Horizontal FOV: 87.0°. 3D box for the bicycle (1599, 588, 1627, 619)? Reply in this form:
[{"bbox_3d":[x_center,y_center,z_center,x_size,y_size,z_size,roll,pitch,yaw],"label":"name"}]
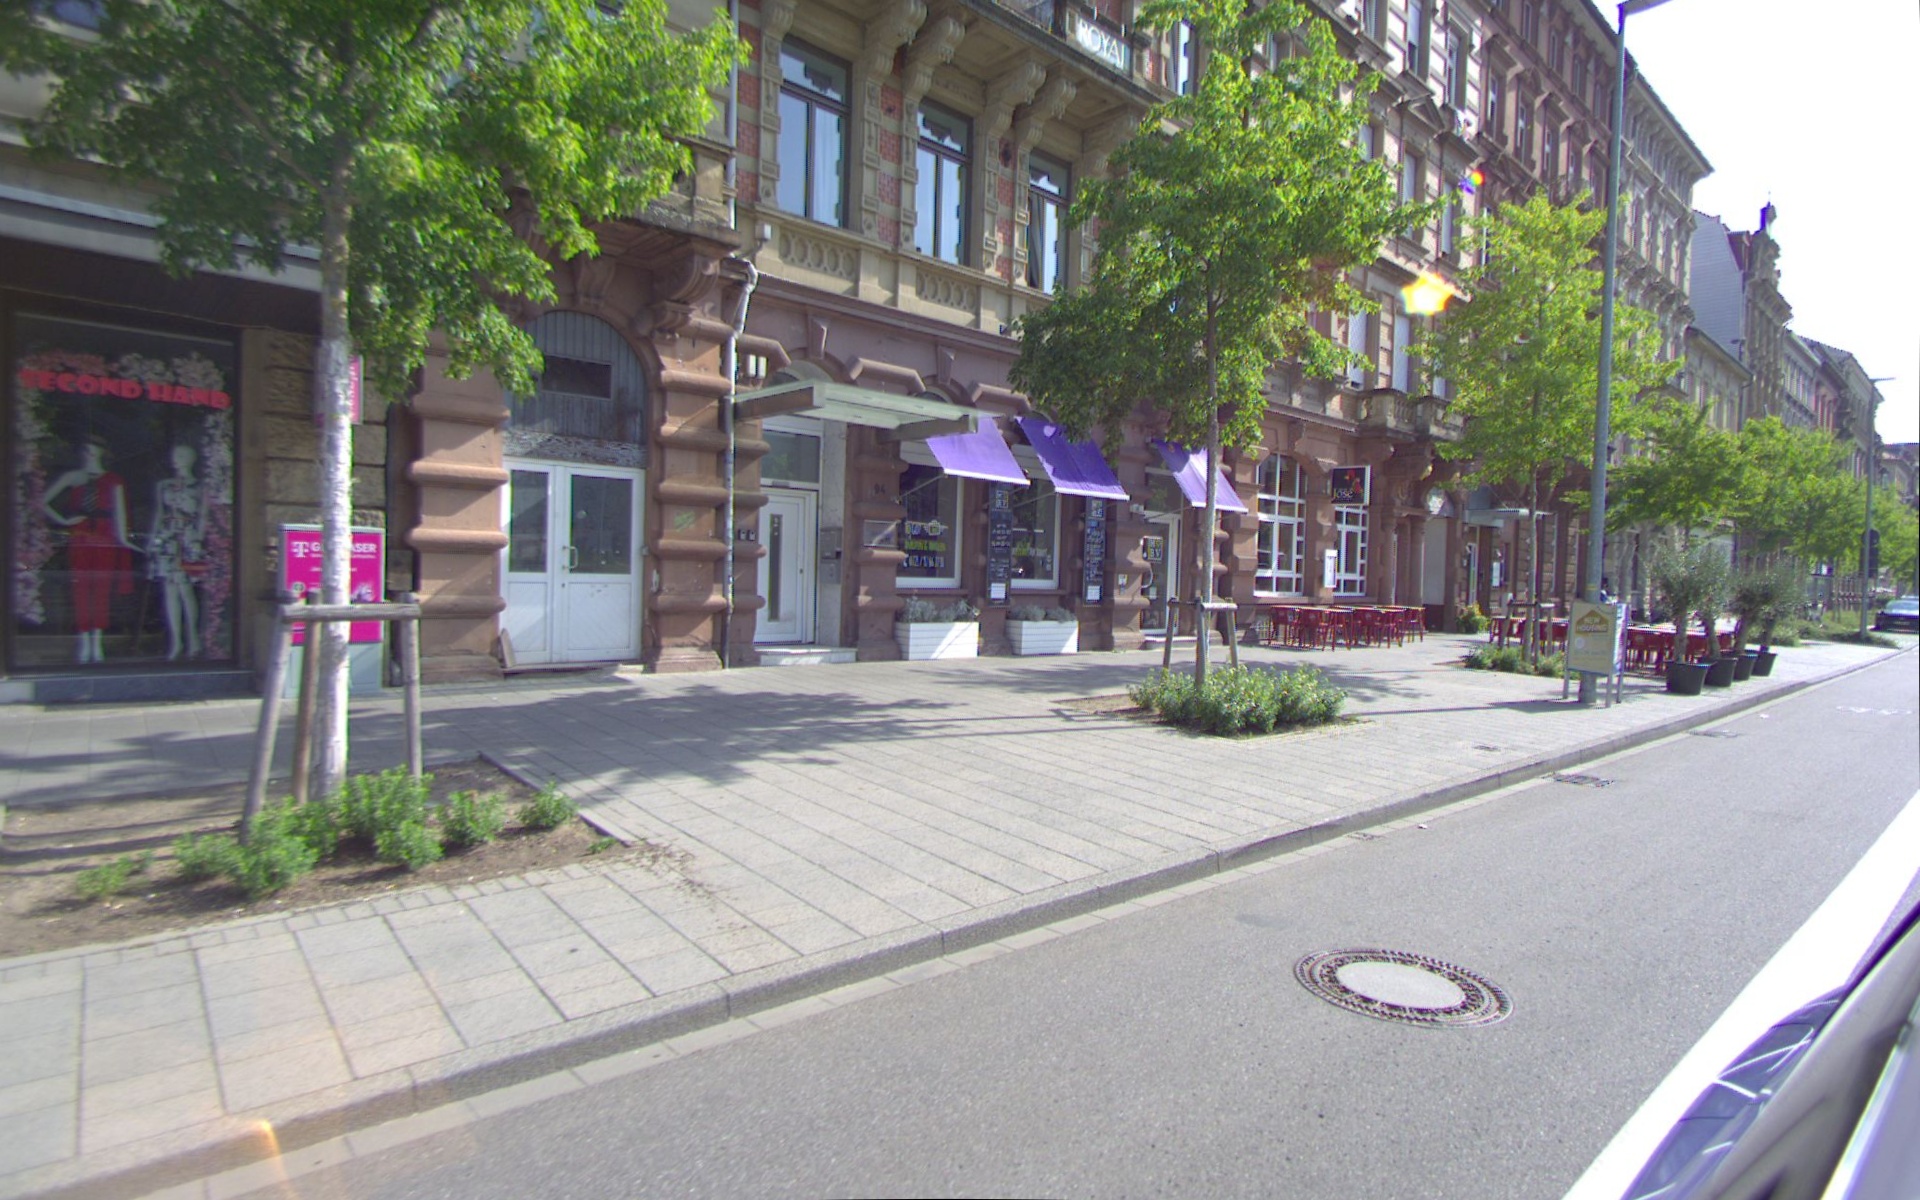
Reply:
[{"bbox_3d":[21.905,0.114,33.942,1.232,1.031,0.398,0,2,-38],"label":"bicycle"}]

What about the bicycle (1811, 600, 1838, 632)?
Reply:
[{"bbox_3d":[31.256,0.563,36.582,1.795,1.107,0.493,0,2,-43],"label":"bicycle"}]

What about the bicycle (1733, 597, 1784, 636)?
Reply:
[{"bbox_3d":[23.924,0.500,30.303,1.678,1.073,0.507,2,3,-28],"label":"bicycle"}]

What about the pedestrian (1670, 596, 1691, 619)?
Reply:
[{"bbox_3d":[28.345,0.280,39.825,0.570,0.865,0.450,6,4,42],"label":"pedestrian"}]

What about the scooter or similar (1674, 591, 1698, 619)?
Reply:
[{"bbox_3d":[30.613,0.201,42.673,0.916,1.139,0.608,0,2,-43],"label":"scooter or similar"}]

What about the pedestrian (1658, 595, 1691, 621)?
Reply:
[{"bbox_3d":[27.232,0.295,38.569,0.878,0.887,0.700,6,4,44],"label":"pedestrian"}]

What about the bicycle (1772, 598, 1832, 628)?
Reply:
[{"bbox_3d":[31.394,0.467,37.733,1.842,1.095,0.455,0,2,0],"label":"bicycle"}]

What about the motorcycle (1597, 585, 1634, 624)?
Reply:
[{"bbox_3d":[21.012,0.144,32.433,1.912,1.189,0.464,0,4,-43],"label":"motorcycle"}]

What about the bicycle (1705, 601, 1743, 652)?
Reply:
[{"bbox_3d":[18.333,0.620,24.267,0.595,1.136,1.898,2,2,41],"label":"bicycle"}]

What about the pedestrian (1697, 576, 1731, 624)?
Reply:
[{"bbox_3d":[27.908,-0.020,37.456,0.786,1.717,0.817,4,3,29],"label":"pedestrian"}]

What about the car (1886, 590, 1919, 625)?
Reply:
[{"bbox_3d":[41.782,0.345,43.993,4.633,1.413,1.740,0,3,-42],"label":"car"}]
